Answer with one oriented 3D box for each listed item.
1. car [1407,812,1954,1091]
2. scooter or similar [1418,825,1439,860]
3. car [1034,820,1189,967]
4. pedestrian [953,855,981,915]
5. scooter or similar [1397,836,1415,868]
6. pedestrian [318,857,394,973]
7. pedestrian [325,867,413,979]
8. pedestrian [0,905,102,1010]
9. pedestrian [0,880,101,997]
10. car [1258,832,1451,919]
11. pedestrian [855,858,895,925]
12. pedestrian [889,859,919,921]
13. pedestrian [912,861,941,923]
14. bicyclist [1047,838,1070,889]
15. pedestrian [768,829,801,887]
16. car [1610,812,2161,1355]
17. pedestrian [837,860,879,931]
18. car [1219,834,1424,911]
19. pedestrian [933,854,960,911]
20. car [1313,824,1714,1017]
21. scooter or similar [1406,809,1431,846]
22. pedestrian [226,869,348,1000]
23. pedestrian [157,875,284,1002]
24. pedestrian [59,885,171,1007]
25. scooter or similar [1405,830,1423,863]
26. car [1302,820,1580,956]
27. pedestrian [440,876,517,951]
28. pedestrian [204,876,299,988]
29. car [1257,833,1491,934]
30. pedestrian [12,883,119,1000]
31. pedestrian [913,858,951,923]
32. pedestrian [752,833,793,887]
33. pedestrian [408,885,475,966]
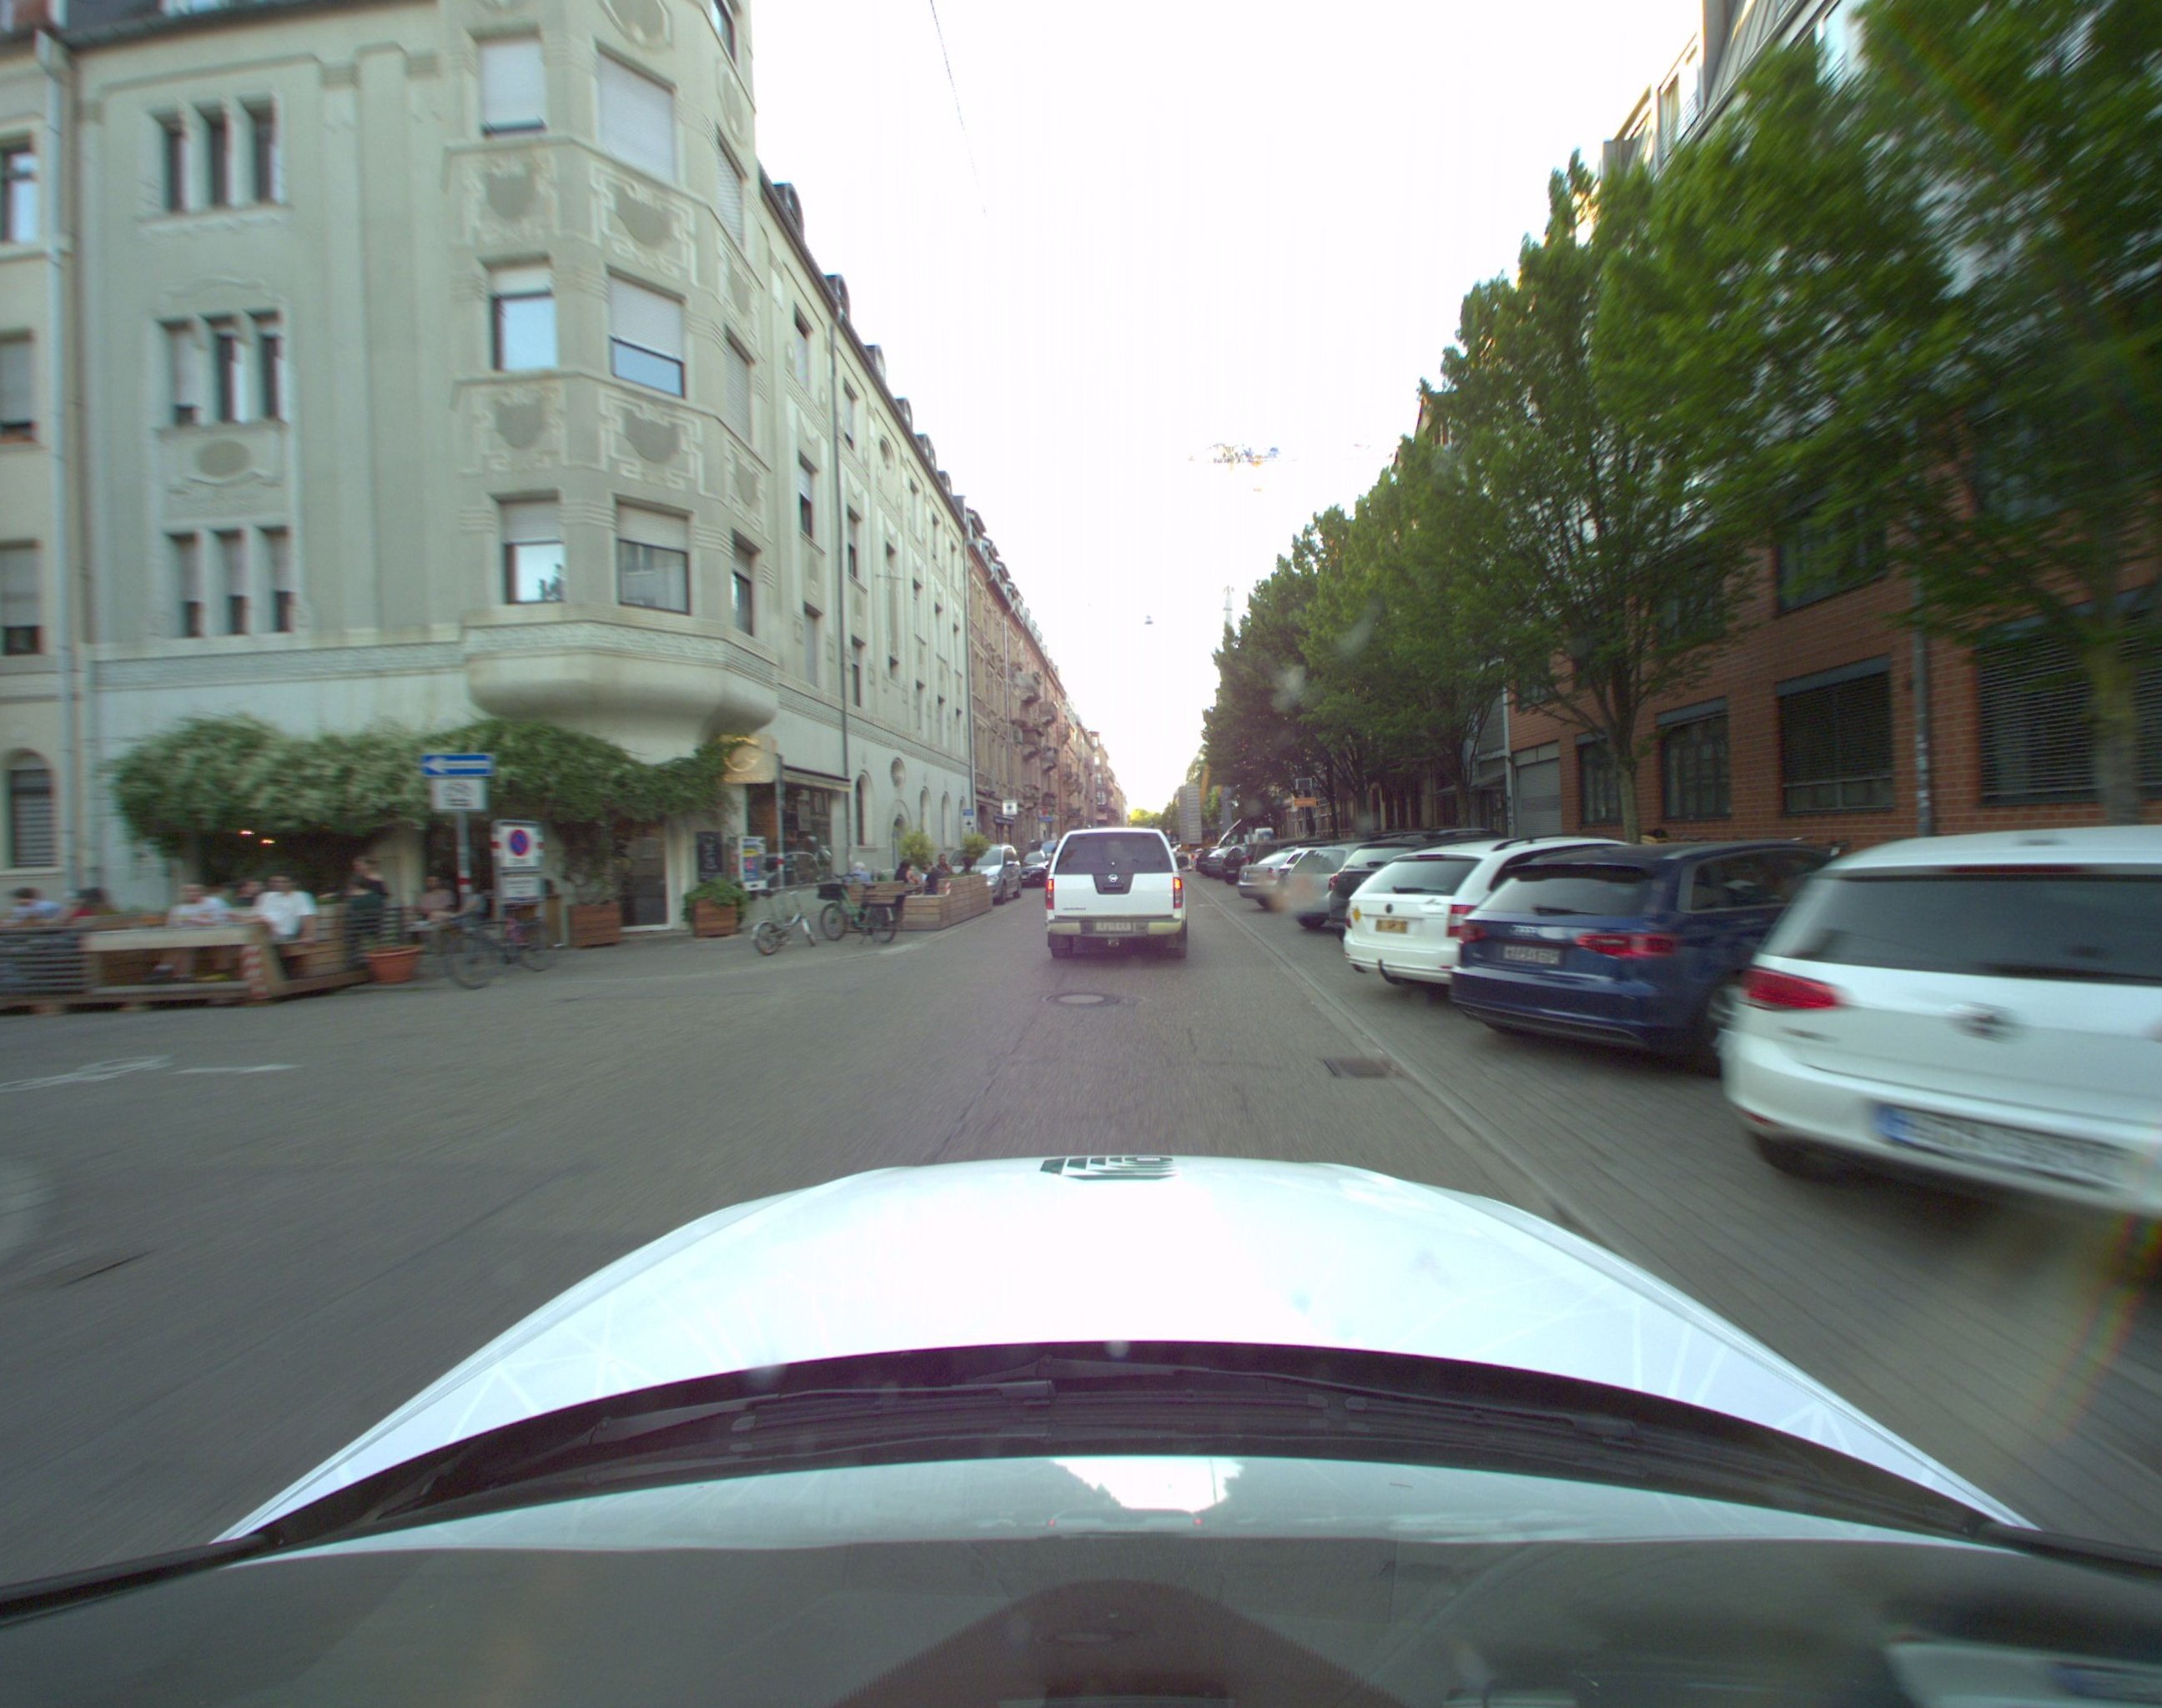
[{"bbox_3d":[4.658,0.533,6.276,4.008,1.523,1.695,-2,-1,-26],"label":"car"},{"bbox_3d":[13.020,-0.443,30.542,0.408,1.218,1.783,-7,-1,16],"label":"scooter or similar"},{"bbox_3d":[0.622,0.456,12.362,1.923,1.794,4.630,0,1,6],"label":"car"},{"bbox_3d":[-2.637,0.700,18.810,0.482,1.350,0.670,-1,0,3],"label":"pedestrian"},{"bbox_3d":[13.045,-0.079,32.689,0.365,1.218,1.630,-5,-1,29],"label":"scooter or similar"},{"bbox_3d":[-10.494,0.863,11.804,0.538,1.621,0.547,-2,0,4],"label":"pedestrian"},{"bbox_3d":[-9.794,0.926,11.219,0.569,1.469,0.645,-2,0,3],"label":"pedestrian"},{"bbox_3d":[-12.770,1.265,10.055,0.639,1.207,0.574,-2,0,4],"label":"pedestrian"},{"bbox_3d":[-14.057,1.133,11.095,0.569,1.501,0.645,-2,0,3],"label":"pedestrian"},{"bbox_3d":[5.602,0.389,16.653,3.610,1.534,1.550,-2,0,-24],"label":"car"},{"bbox_3d":[-4.178,0.754,16.553,0.534,1.324,0.706,-1,0,5],"label":"pedestrian"},{"bbox_3d":[-3.984,0.798,18.371,0.466,1.350,0.611,-1,0,3],"label":"pedestrian"},{"bbox_3d":[-3.455,0.841,18.272,0.466,1.350,0.611,-1,0,3],"label":"pedestrian"},{"bbox_3d":[-0.748,0.298,27.692,0.600,1.684,1.144,-2,0,5],"label":"bicyclist"},{"bbox_3d":[-7.143,0.094,19.638,0.536,1.350,0.519,-1,0,5],"label":"pedestrian"},{"bbox_3d":[4.454,0.567,3.564,4.011,1.473,1.858,-2,-1,-29],"label":"car"},{"bbox_3d":[-4.299,0.780,15.705,0.534,1.324,0.706,-1,0,5],"label":"pedestrian"},{"bbox_3d":[5.654,0.390,19.175,4.387,1.534,1.795,-2,0,-20],"label":"car"},{"bbox_3d":[-3.237,0.682,19.588,0.515,1.350,0.540,-1,0,2],"label":"pedestrian"},{"bbox_3d":[4.519,0.524,8.434,4.008,1.537,1.622,-2,1,-26],"label":"car"},{"bbox_3d":[11.939,-0.913,28.819,0.463,1.217,1.783,-9,-2,16],"label":"scooter or similar"},{"bbox_3d":[-9.960,0.980,10.246,0.699,1.540,0.784,-2,0,3],"label":"pedestrian"},{"bbox_3d":[-10.738,1.029,10.190,0.699,1.469,0.784,-2,0,3],"label":"pedestrian"},{"bbox_3d":[-11.979,1.120,10.118,0.569,1.411,0.645,-2,0,5],"label":"pedestrian"},{"bbox_3d":[13.037,-0.298,31.840,0.365,1.218,1.714,-5,-1,29],"label":"scooter or similar"},{"bbox_3d":[5.068,0.385,11.419,3.615,1.580,1.700,-2,0,-29],"label":"car"},{"bbox_3d":[-10.437,1.015,14.120,0.687,1.214,0.780,-2,0,5],"label":"pedestrian"},{"bbox_3d":[-11.321,1.050,11.128,0.569,1.443,0.645,-2,0,5],"label":"pedestrian"},{"bbox_3d":[5.096,0.450,14.184,3.609,1.482,1.709,-2,0,-23],"label":"car"},{"bbox_3d":[-13.356,1.131,10.723,0.639,1.447,0.574,-2,0,4],"label":"pedestrian"},{"bbox_3d":[-3.167,0.757,17.348,0.606,1.324,0.771,-1,0,3],"label":"pedestrian"},{"bbox_3d":[-6.835,0.128,18.053,0.554,1.154,0.749,-1,0,4],"label":"pedestrian"},{"bbox_3d":[-10.168,1.127,12.969,0.528,1.214,0.607,-2,0,5],"label":"pedestrian"}]
